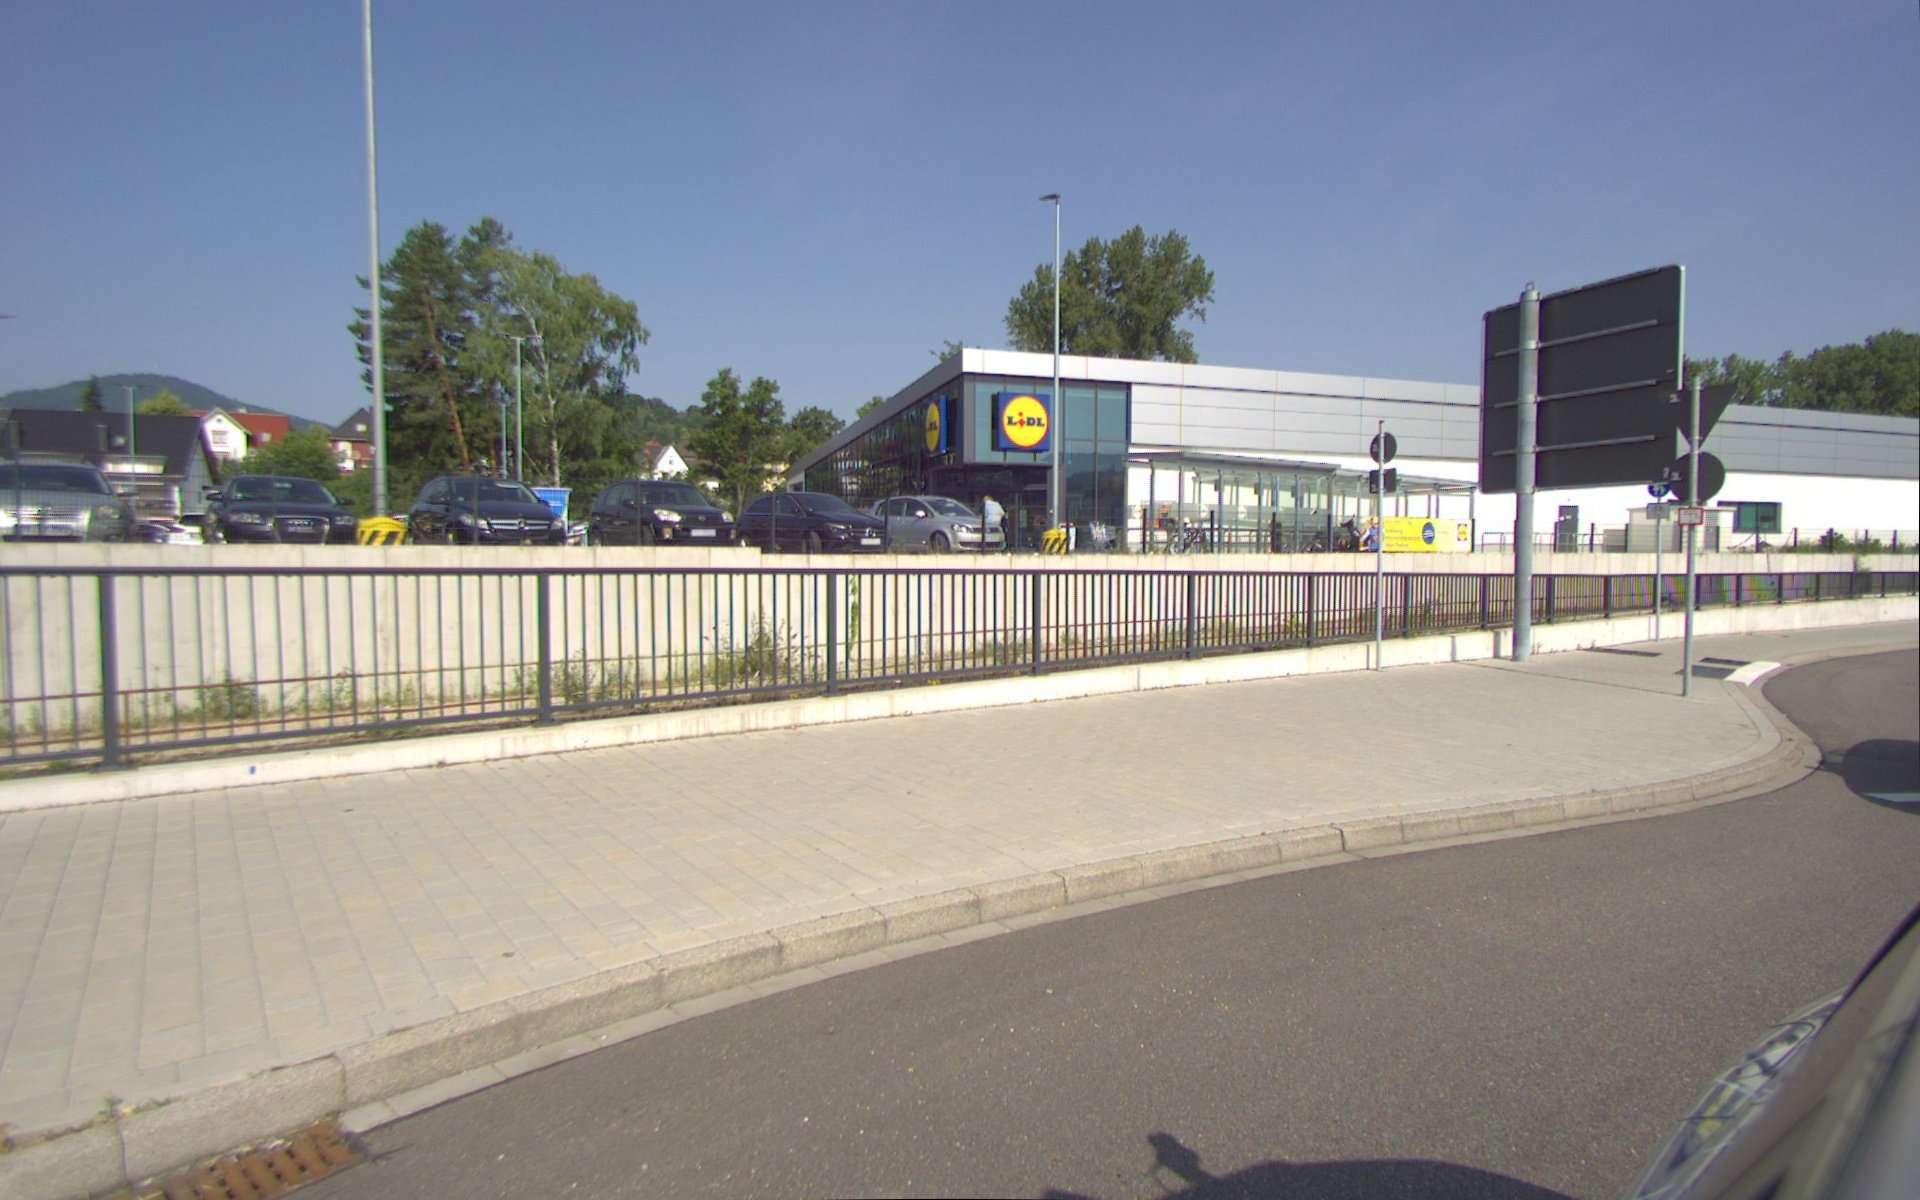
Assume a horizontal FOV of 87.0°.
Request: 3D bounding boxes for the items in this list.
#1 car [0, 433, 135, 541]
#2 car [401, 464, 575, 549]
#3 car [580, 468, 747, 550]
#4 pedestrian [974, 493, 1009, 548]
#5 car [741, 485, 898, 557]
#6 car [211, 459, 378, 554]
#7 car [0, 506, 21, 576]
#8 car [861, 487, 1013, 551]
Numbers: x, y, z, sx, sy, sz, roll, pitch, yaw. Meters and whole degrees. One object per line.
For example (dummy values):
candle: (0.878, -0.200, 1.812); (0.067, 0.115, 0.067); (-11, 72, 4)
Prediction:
car: (-12.467, -1.455, 13.946); (1.635, 1.261, 4.288); (-2, 4, -40)
car: (-8.259, -1.540, 17.521); (1.713, 1.261, 4.223); (-2, 4, -40)
car: (-5.874, -1.709, 19.762); (1.695, 1.421, 4.014); (-2, 4, -40)
pedestrian: (0.775, -1.942, 24.775); (0.645, 1.327, 0.549); (-2, 4, -38)
car: (-3.134, -1.662, 21.924); (1.460, 1.421, 4.071); (-1, 4, -40)
car: (-10.348, -1.363, 15.614); (1.699, 1.261, 3.975); (-2, 4, -40)
car: (-24.354, -1.355, 23.189); (3.840, 1.628, 1.611); (-2, 4, -30)
car: (-0.622, -1.899, 24.350); (1.651, 1.381, 3.814); (-2, 4, -40)
